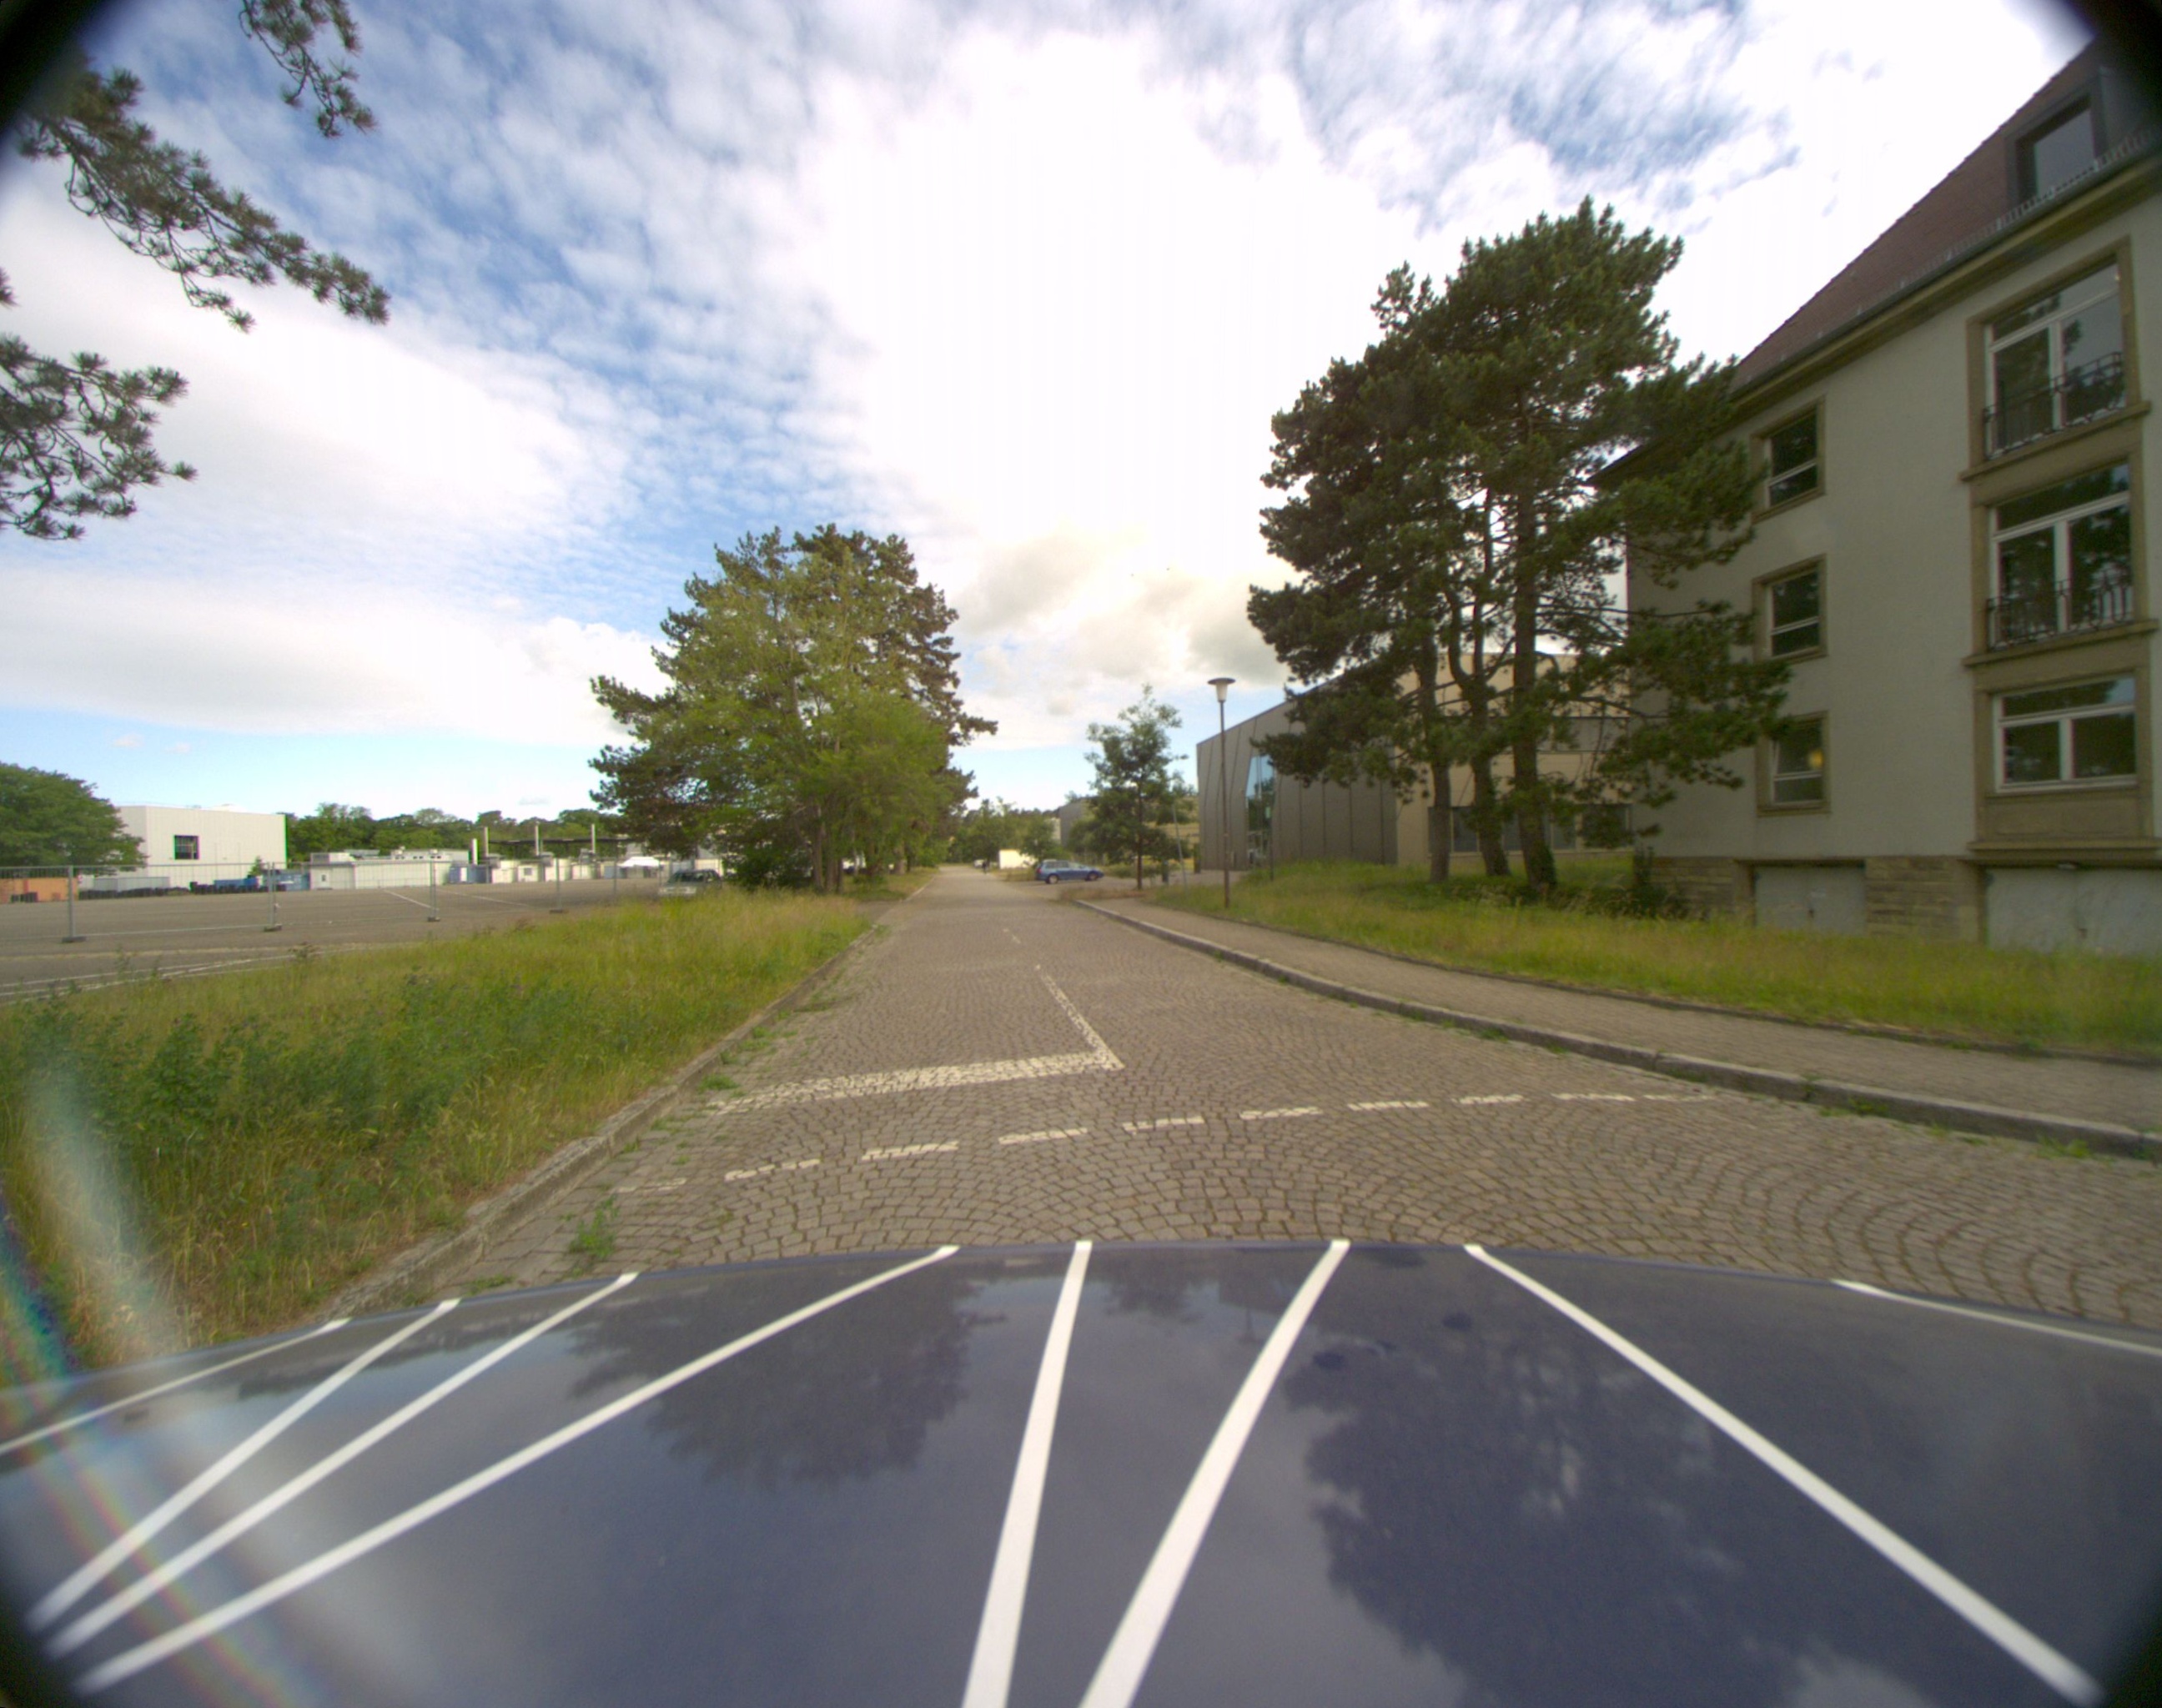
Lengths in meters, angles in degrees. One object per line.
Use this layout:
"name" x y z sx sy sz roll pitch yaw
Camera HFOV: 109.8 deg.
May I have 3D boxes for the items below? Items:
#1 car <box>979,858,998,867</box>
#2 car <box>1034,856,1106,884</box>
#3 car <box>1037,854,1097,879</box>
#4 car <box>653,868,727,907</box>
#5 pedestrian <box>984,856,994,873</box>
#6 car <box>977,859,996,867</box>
"car" -19.843 1.738 163.134 4.081 1.828 1.784 -2 0 -7
"car" -0.723 1.043 50.174 4.418 1.455 1.836 -4 1 -12
"car" -1.063 0.934 57.647 4.196 1.577 1.836 -4 1 -12
"car" -16.690 1.385 32.655 1.865 1.465 4.146 -1 0 -14
"pedestrian" -9.679 1.115 79.956 0.875 1.713 1.006 -2 1 -3
"car" -20.537 1.899 165.319 4.081 1.565 1.784 -2 0 -7
